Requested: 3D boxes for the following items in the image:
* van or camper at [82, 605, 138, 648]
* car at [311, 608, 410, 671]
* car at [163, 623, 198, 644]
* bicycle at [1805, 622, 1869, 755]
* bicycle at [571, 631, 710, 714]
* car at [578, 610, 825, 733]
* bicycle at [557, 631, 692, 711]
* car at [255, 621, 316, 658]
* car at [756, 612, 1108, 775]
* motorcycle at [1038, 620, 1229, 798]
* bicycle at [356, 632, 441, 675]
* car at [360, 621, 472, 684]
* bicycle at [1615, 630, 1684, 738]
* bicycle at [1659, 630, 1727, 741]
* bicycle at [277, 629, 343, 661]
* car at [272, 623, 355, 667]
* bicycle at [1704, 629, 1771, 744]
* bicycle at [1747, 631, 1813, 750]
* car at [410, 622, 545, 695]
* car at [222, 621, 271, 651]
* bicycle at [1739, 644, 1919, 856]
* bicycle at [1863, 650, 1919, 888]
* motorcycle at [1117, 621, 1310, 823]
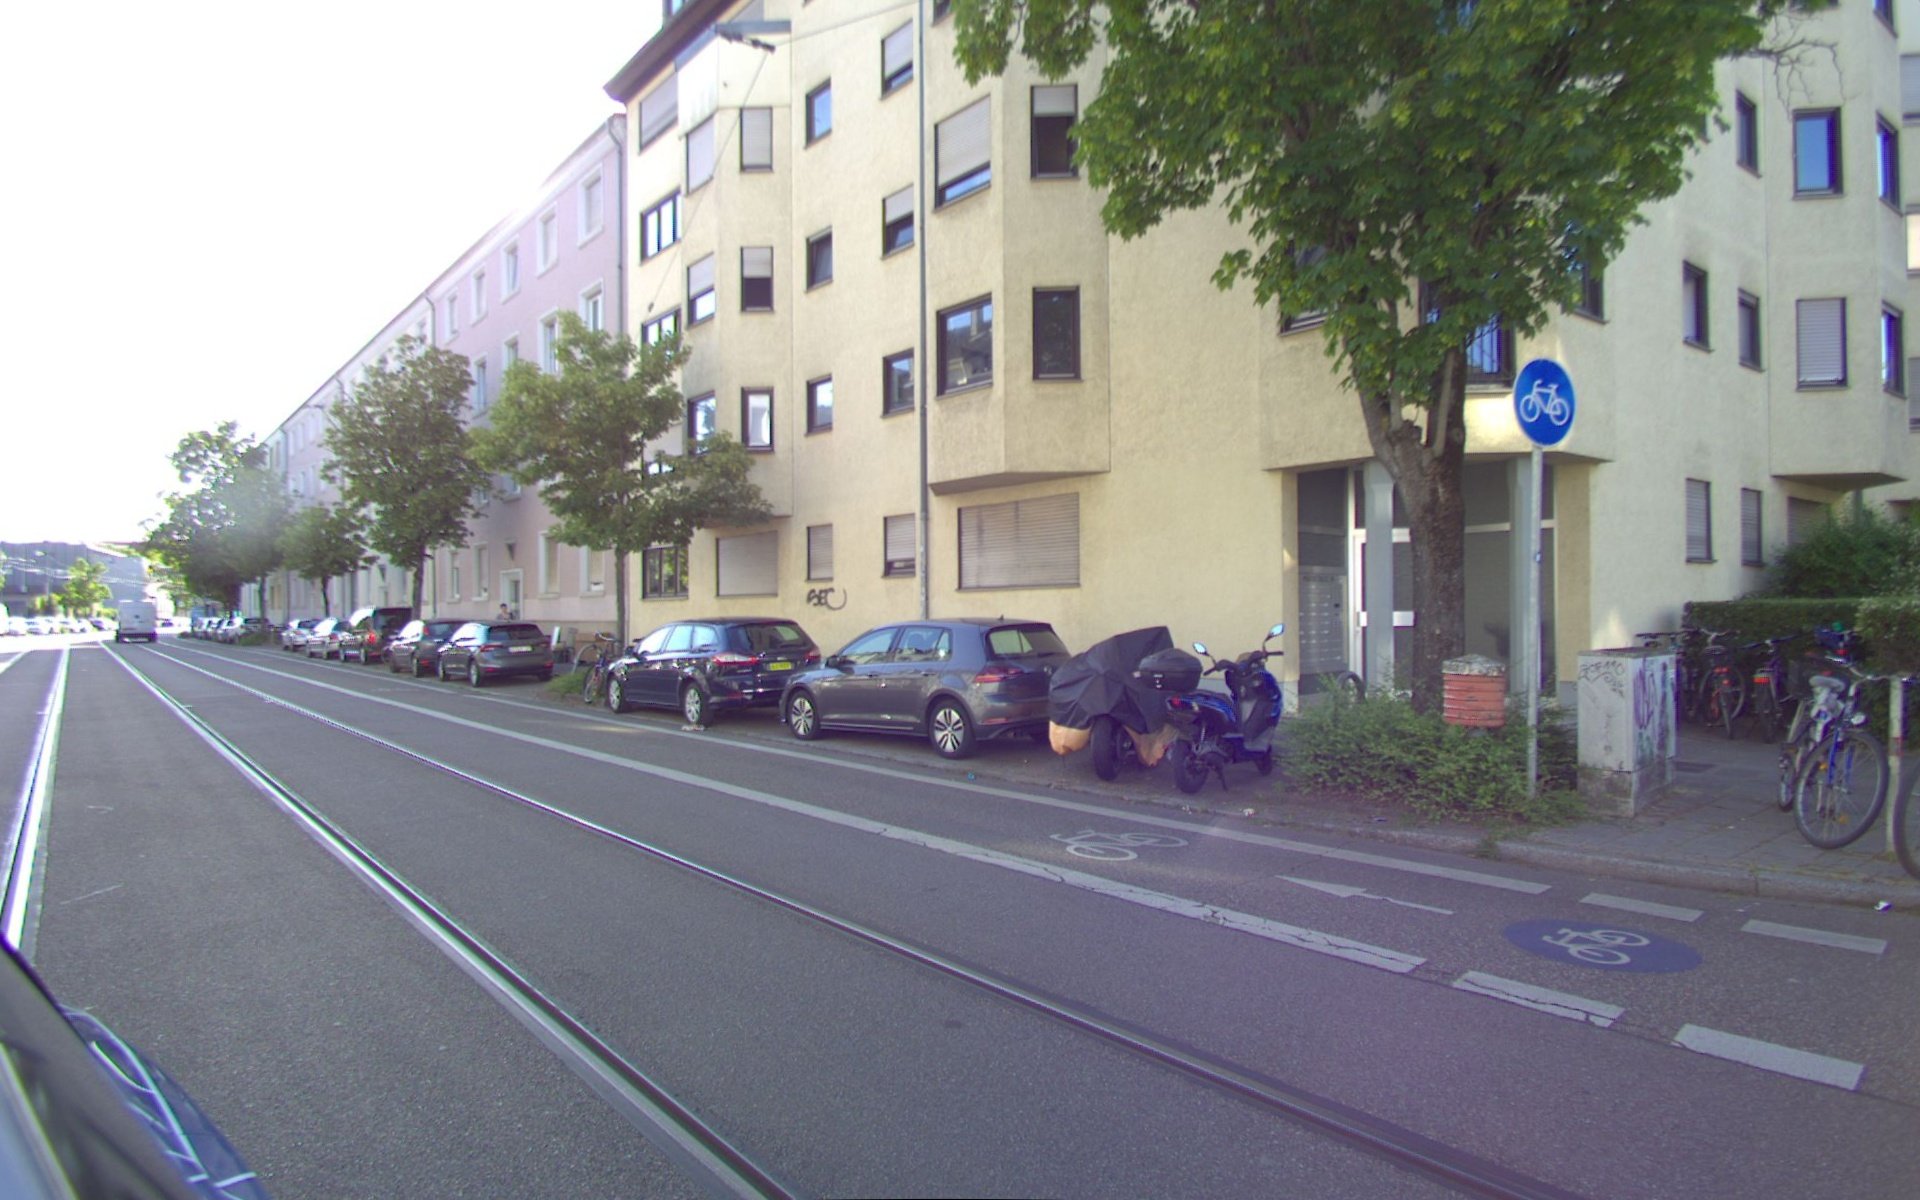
[{"bbox_3d":[-54.493,1.668,64.851,2.342,2.572,6.840,0,-1,-43],"label":"van or camper"},{"bbox_3d":[-19.746,1.256,33.255,1.745,1.859,4.427,-3,1,-44],"label":"car"},{"bbox_3d":[-60.609,2.588,78.697,1.664,1.563,3.953,0,-1,-45],"label":"car"},{"bbox_3d":[8.452,0.812,9.740,1.373,1.152,0.332,-2,0,-44],"label":"bicycle"},{"bbox_3d":[-5.654,1.250,18.019,2.264,1.344,0.700,0,-1,-42],"label":"bicycle"},{"bbox_3d":[-4.065,0.963,15.319,1.743,1.554,4.741,0,-1,-40],"label":"car"},{"bbox_3d":[-6.126,1.258,18.570,2.264,1.344,0.700,0,-1,-42],"label":"bicycle"},{"bbox_3d":[-29.430,1.696,44.092,1.743,1.484,4.760,0,-1,-39],"label":"car"},{"bbox_3d":[-0.475,0.943,11.816,4.130,1.554,1.716,-1,-1,44],"label":"car"},{"bbox_3d":[1.651,0.923,9.398,0.836,1.458,1.948,-1,-1,41],"label":"motorcycle"},{"bbox_3d":[-16.957,1.599,30.602,2.087,1.113,0.747,-4,1,-44],"label":"bicycle"},{"bbox_3d":[-14.837,1.358,27.504,1.744,1.484,4.187,-3,1,-41],"label":"car"},{"bbox_3d":[7.492,0.878,10.975,1.373,1.054,0.332,-2,0,-44],"label":"bicycle"},{"bbox_3d":[7.766,0.872,10.702,1.373,1.054,0.332,-2,0,-44],"label":"bicycle"},{"bbox_3d":[-26.298,1.804,40.981,0.660,1.151,2.119,-2,0,45],"label":"bicycle"},{"bbox_3d":[-23.720,1.600,37.052,1.744,1.484,4.863,0,-1,-43],"label":"car"},{"bbox_3d":[8.010,0.858,10.415,1.373,1.054,0.332,-2,0,-44],"label":"bicycle"},{"bbox_3d":[8.209,0.869,10.121,1.373,1.054,0.332,-2,0,-44],"label":"bicycle"},{"bbox_3d":[-11.449,1.313,23.891,1.744,1.484,4.046,-3,1,-42],"label":"car"},{"bbox_3d":[-41.060,2.025,58.225,1.664,1.635,4.051,0,-1,-45],"label":"car"},{"bbox_3d":[5.458,0.844,6.280,1.783,1.093,0.596,0,-1,-40],"label":"bicycle"},{"bbox_3d":[5.402,0.843,5.396,1.853,1.093,0.596,0,-1,-40],"label":"bicycle"},{"bbox_3d":[2.140,0.911,8.366,0.720,1.458,1.948,-1,-1,41],"label":"motorcycle"}]
